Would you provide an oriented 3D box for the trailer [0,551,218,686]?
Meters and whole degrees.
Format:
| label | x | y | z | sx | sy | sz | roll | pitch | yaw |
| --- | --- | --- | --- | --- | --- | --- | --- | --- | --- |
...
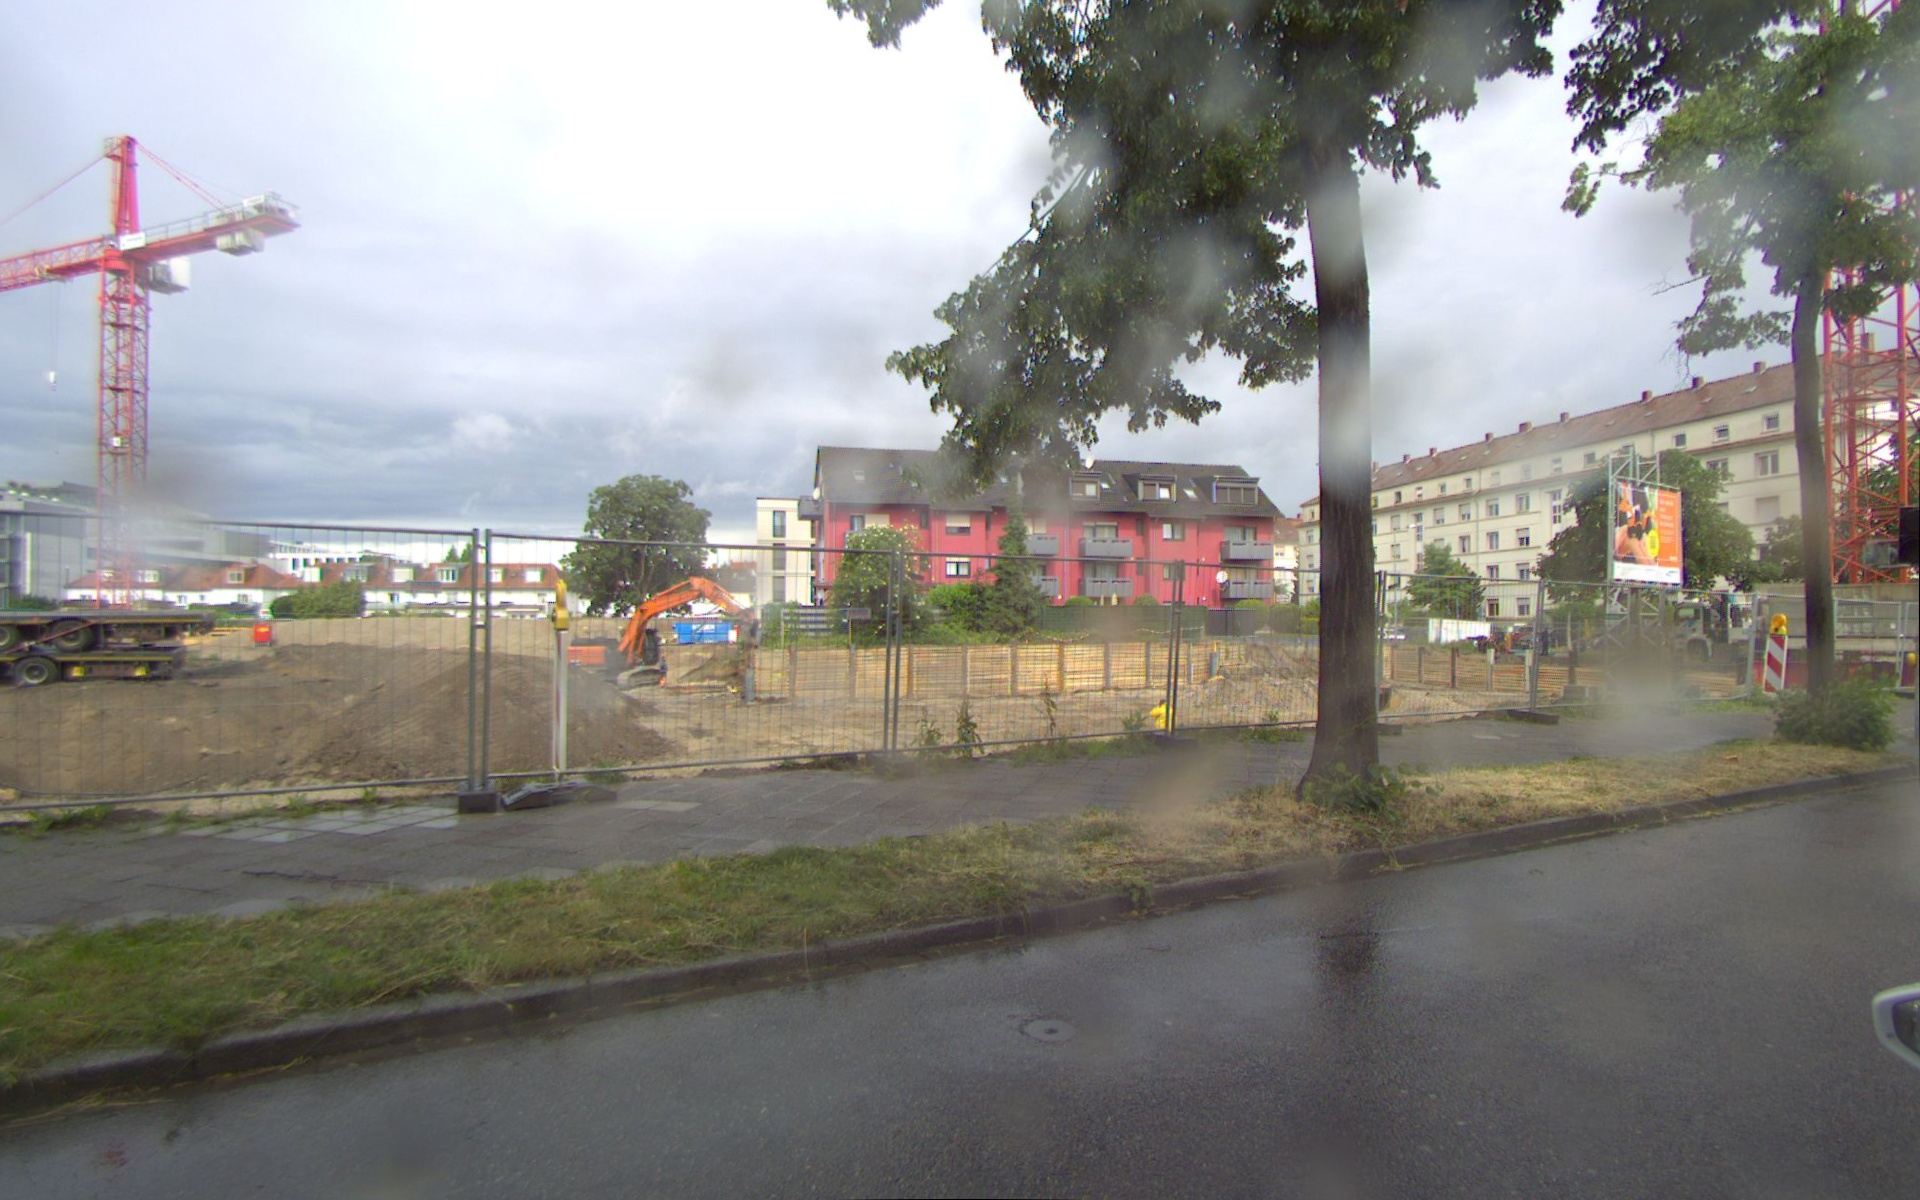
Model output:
| label | x | y | z | sx | sy | sz | roll | pitch | yaw |
| --- | --- | --- | --- | --- | --- | --- | --- | --- | --- |
| trailer | -26.929 | 0.334 | 24.267 | 14.147 | 3.276 | 2.945 | 2 | 2 | -31 |

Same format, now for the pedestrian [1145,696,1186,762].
| label | x | y | z | sx | sy | sz | roll | pitch | yaw |
| --- | --- | --- | --- | --- | --- | --- | --- | --- | --- |
| pedestrian | 5.551 | 3.473 | 27.140 | 0.837 | 1.706 | 0.585 | 1 | -4 | -25 |

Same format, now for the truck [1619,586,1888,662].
| label | x | y | z | sx | sy | sz | roll | pitch | yaw |
| --- | --- | --- | --- | --- | --- | --- | --- | --- | --- |
| truck | 37.341 | 1.221 | 48.011 | 3.728 | 3.226 | 9.818 | 0 | -2 | -15 |
